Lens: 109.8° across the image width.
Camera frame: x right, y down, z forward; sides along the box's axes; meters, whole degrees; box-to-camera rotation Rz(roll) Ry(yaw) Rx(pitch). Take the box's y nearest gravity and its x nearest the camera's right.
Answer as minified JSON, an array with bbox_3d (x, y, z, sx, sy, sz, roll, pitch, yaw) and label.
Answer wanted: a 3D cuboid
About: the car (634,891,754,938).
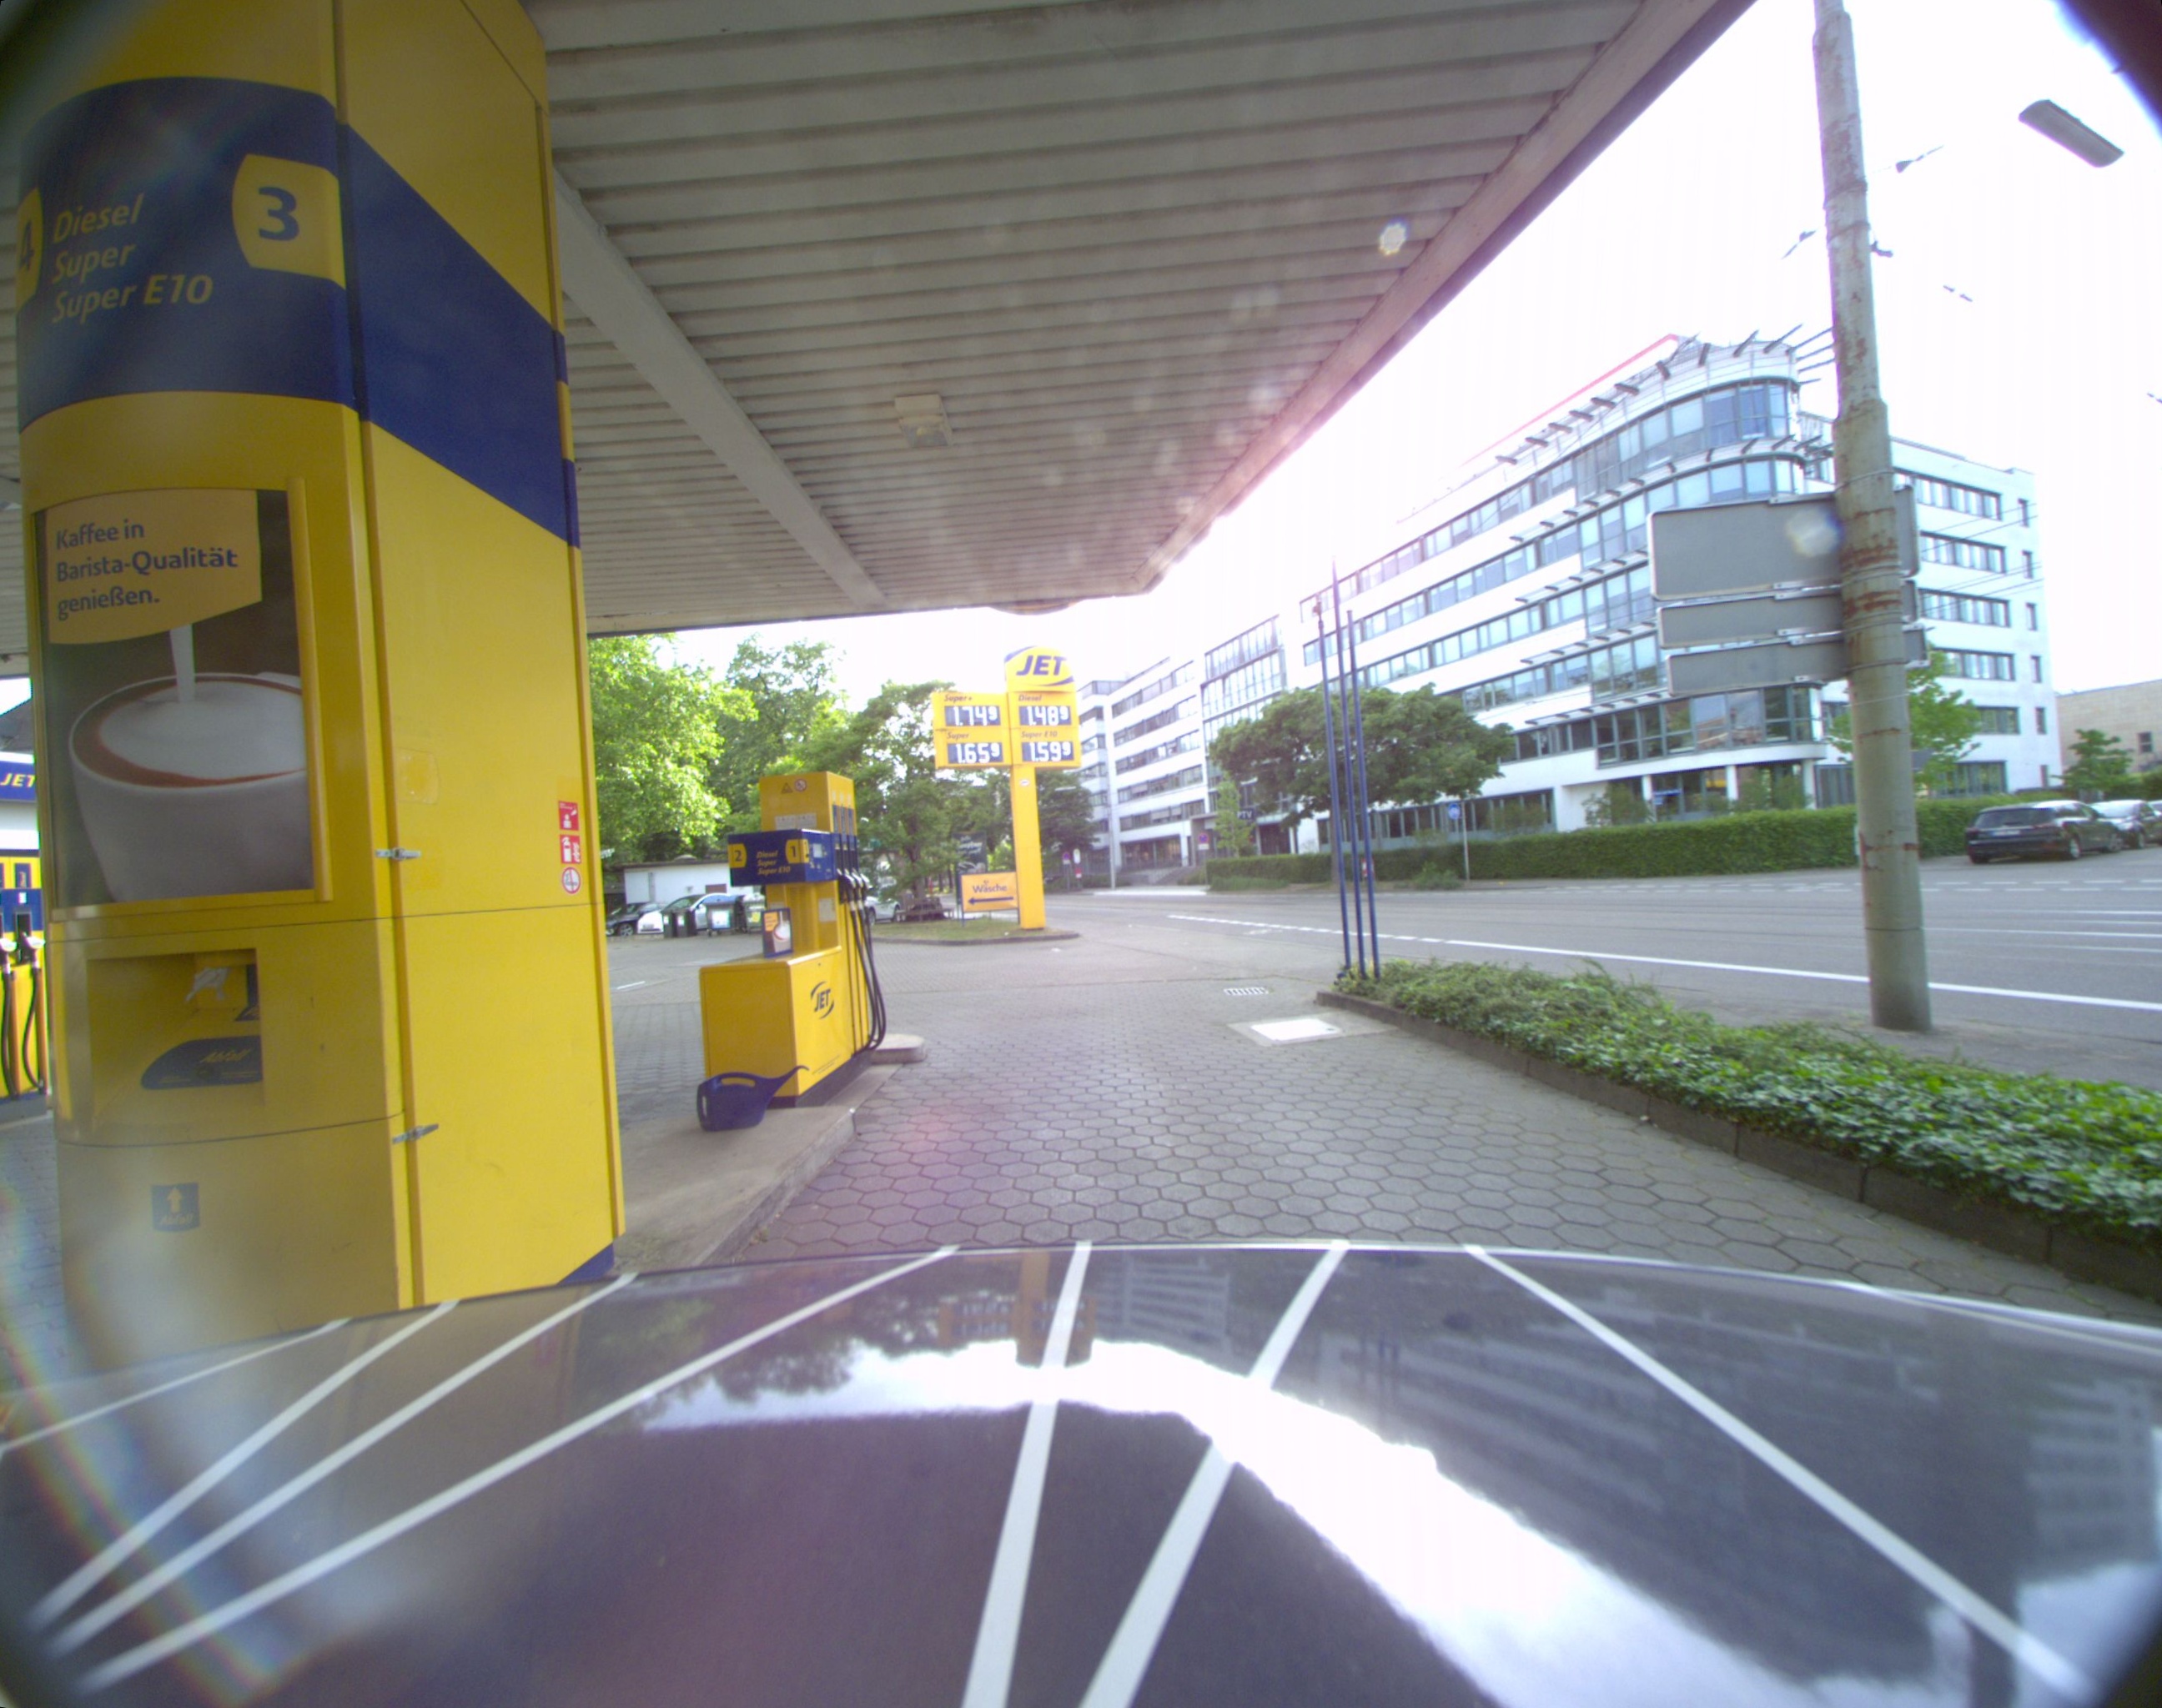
[{"bbox_3d":[-15.291,2.364,30.322,1.771,1.591,4.398,-2,-1,14],"label":"car"}]

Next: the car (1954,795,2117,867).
[{"bbox_3d":[27.275,-0.666,21.697,4.296,1.681,2.010,-4,-1,-27],"label":"car"}]

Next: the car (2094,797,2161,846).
[{"bbox_3d":[37.129,-1.200,26.152,4.296,1.509,1.945,-4,-1,-27],"label":"car"}]

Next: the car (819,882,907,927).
[{"bbox_3d":[-8.635,2.001,30.510,1.772,1.591,4.398,-4,-4,6],"label":"car"}]

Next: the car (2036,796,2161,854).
[{"bbox_3d":[32.546,-0.943,24.099,4.296,1.530,1.945,-4,-1,-27],"label":"car"}]

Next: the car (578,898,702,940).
[{"bbox_3d":[-17.793,2.590,30.916,1.771,1.367,4.398,-2,-1,14],"label":"car"}]

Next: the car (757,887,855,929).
[{"bbox_3d":[-11.653,2.266,32.501,1.771,1.591,4.400,-4,-4,13],"label":"car"}]
